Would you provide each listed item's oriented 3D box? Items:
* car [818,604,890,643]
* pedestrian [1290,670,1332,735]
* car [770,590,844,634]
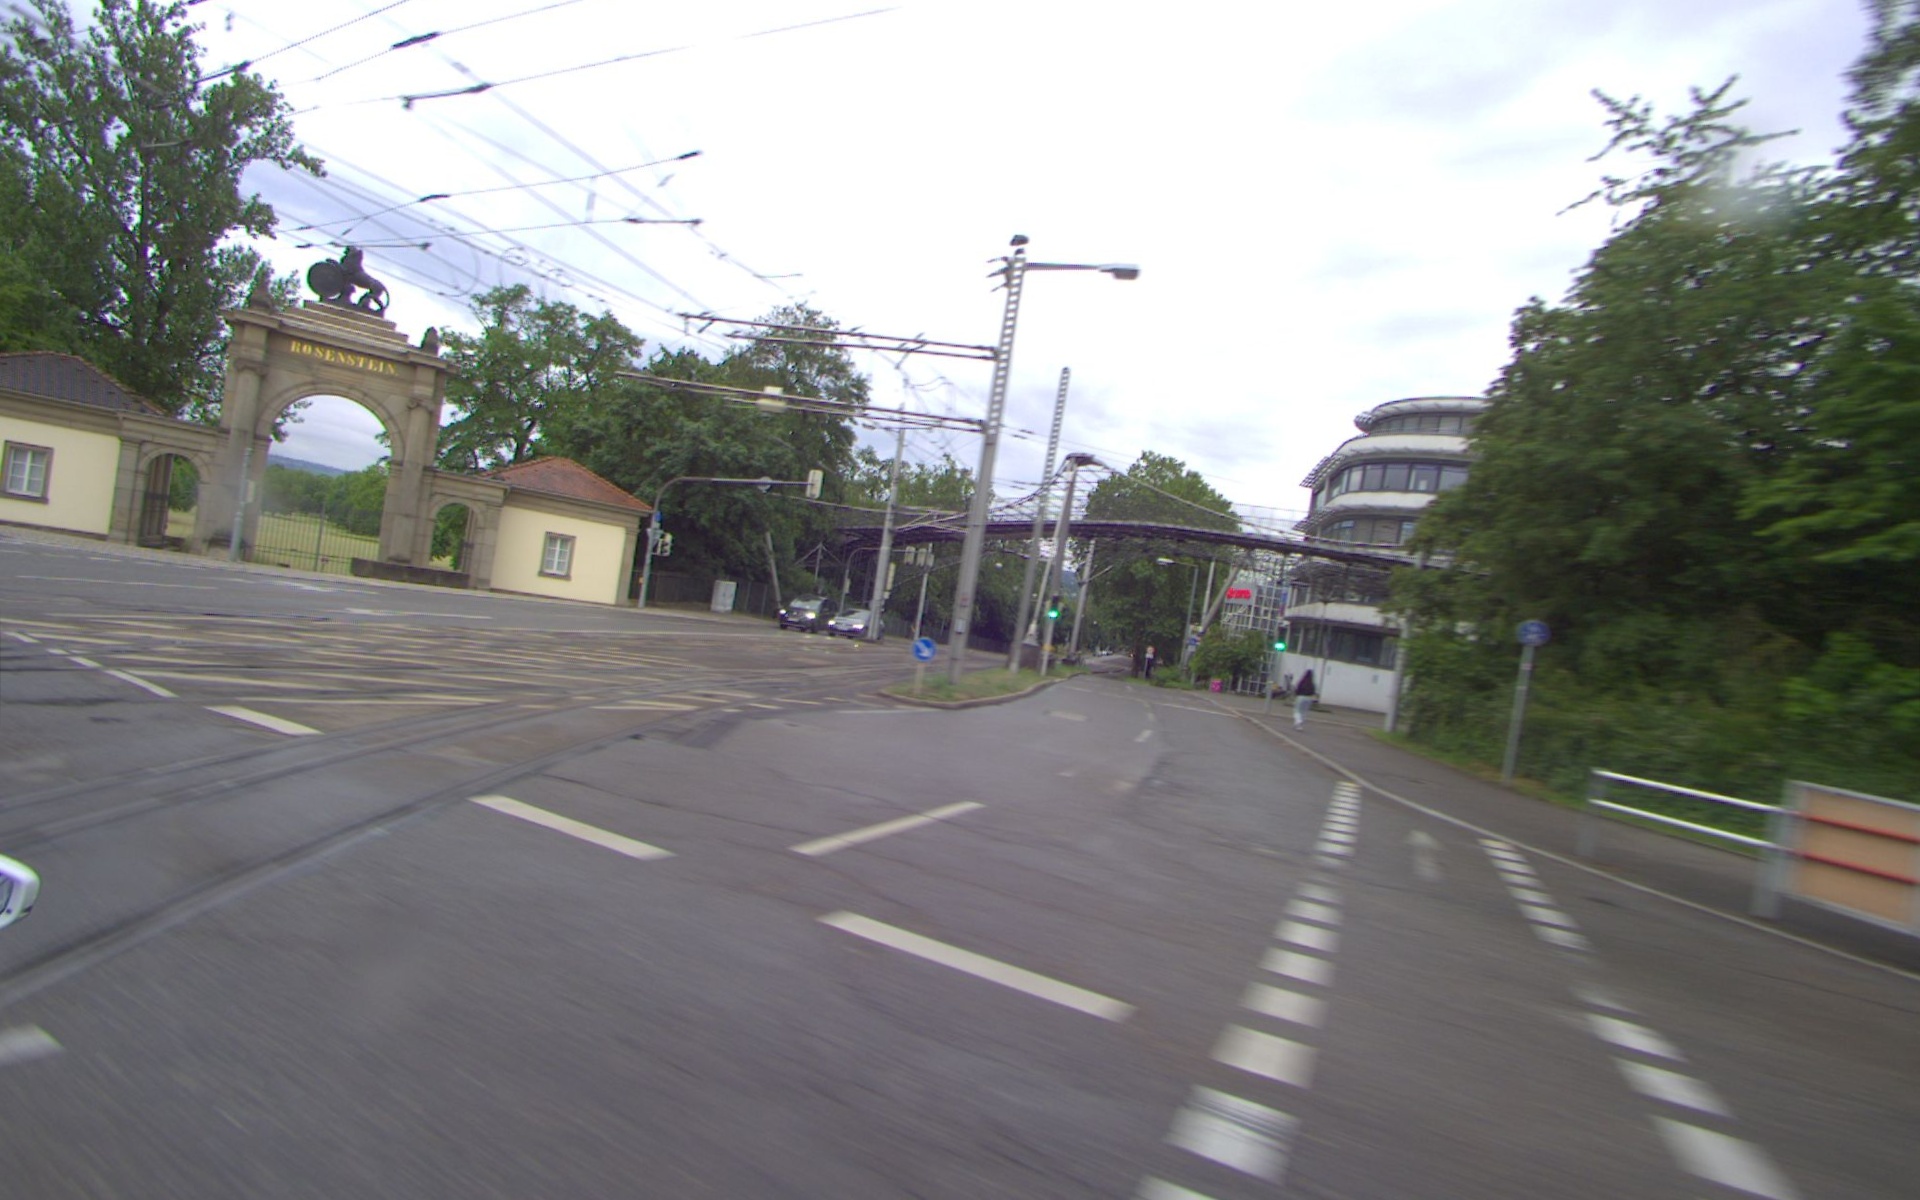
[{"bbox_3d":[-4.917,1.131,47.339,1.962,1.472,4.267,5,-2,13],"label":"car"},{"bbox_3d":[9.268,2.698,26.556,0.795,1.573,0.655,10,0,18],"label":"pedestrian"},{"bbox_3d":[-7.265,0.623,48.339,1.962,1.755,4.267,5,-2,13],"label":"car"}]
